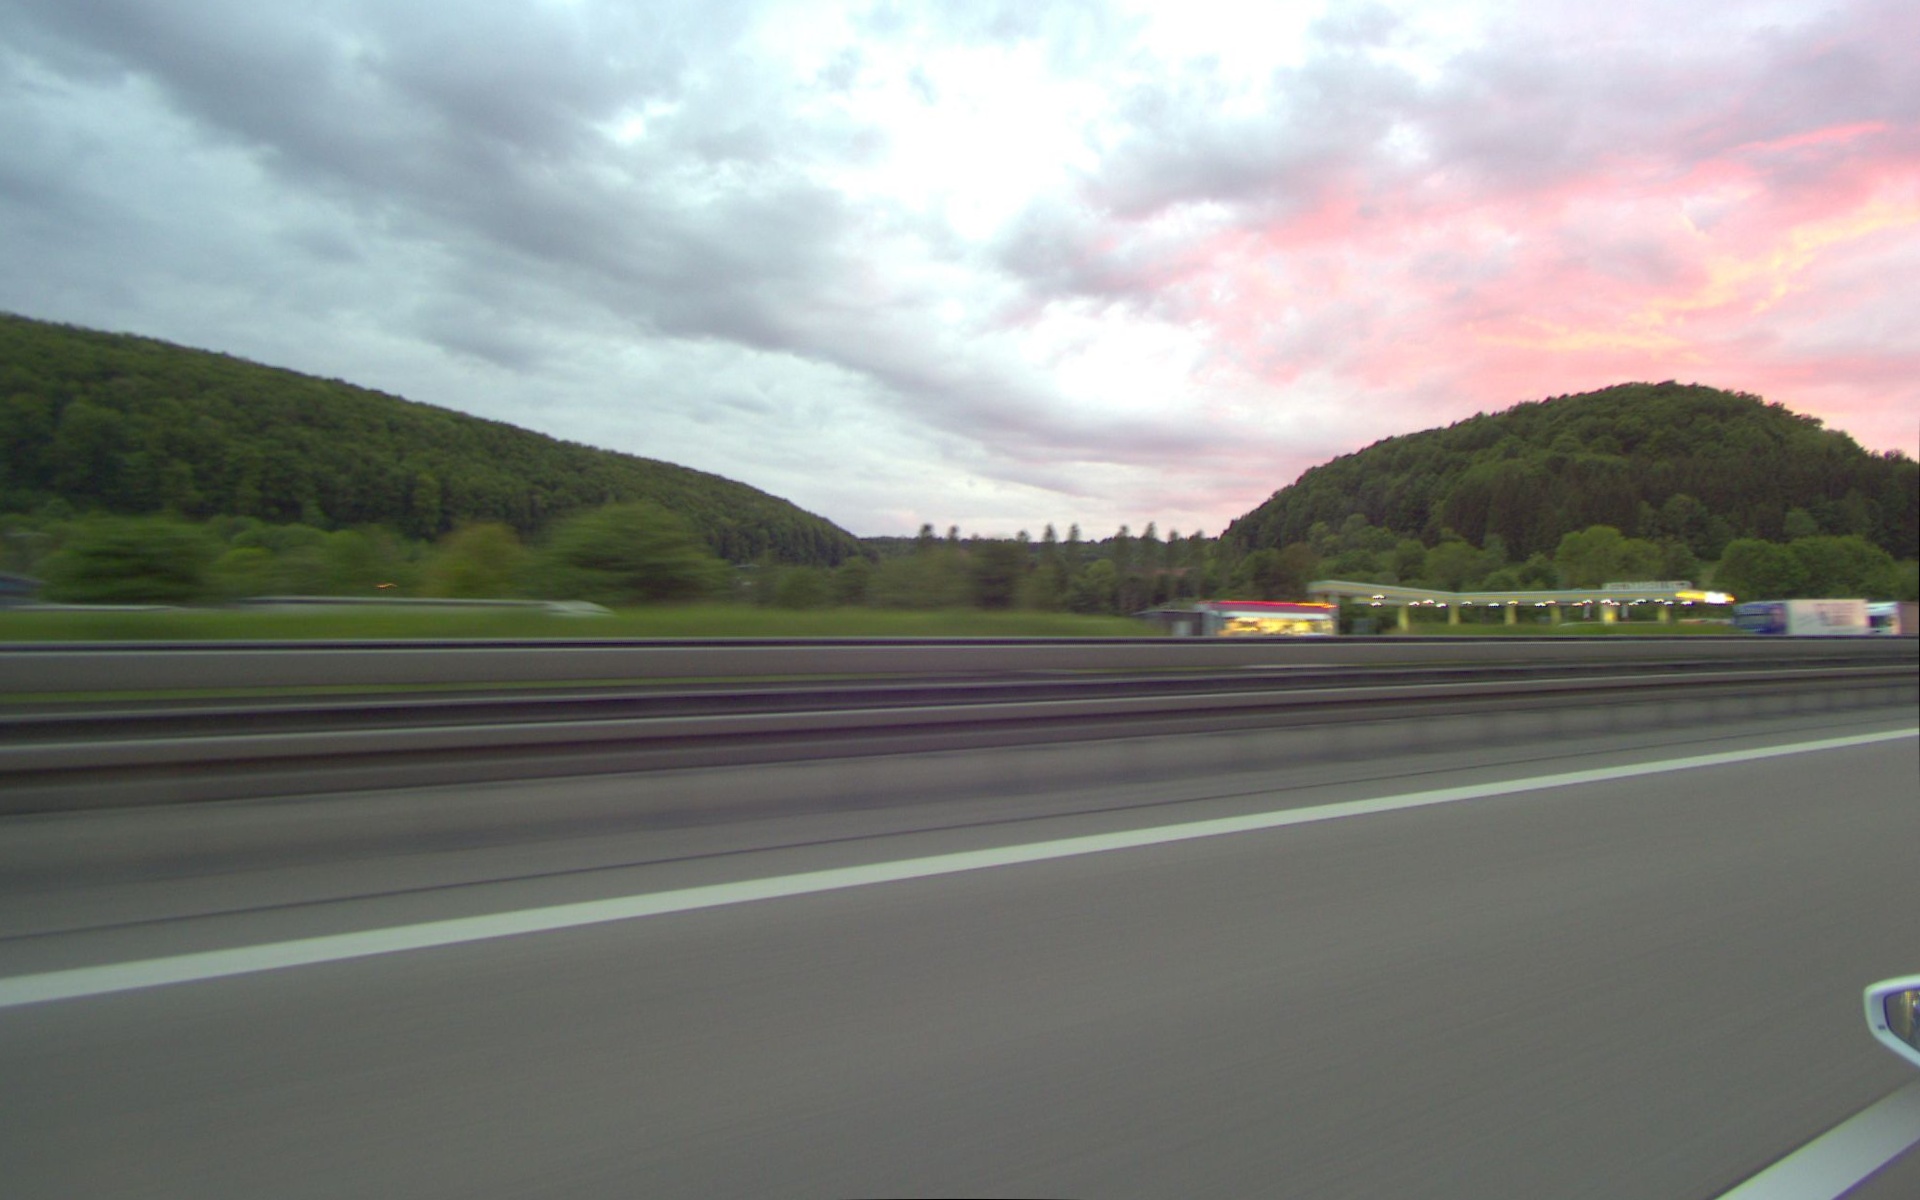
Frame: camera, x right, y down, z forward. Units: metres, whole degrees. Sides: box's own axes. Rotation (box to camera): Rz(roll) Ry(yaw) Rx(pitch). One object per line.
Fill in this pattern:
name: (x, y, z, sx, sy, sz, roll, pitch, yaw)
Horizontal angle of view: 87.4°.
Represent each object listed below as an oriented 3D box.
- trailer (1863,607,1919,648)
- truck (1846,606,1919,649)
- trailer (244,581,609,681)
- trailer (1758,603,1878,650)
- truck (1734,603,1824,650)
trailer: (84.624, 2.439, 88.953, 13.408, 3.470, 2.860, 1, 0, -30)
truck: (78.676, 2.331, 85.526, 6.646, 3.470, 2.860, 1, 0, -30)
trailer: (-18.475, 1.120, 35.654, 11.036, 3.129, 2.852, 2, -2, -32)
trailer: (67.880, 2.063, 79.321, 13.064, 3.470, 2.861, 1, 0, -29)
truck: (61.998, 1.978, 75.994, 7.087, 3.421, 2.861, 1, 0, -29)
